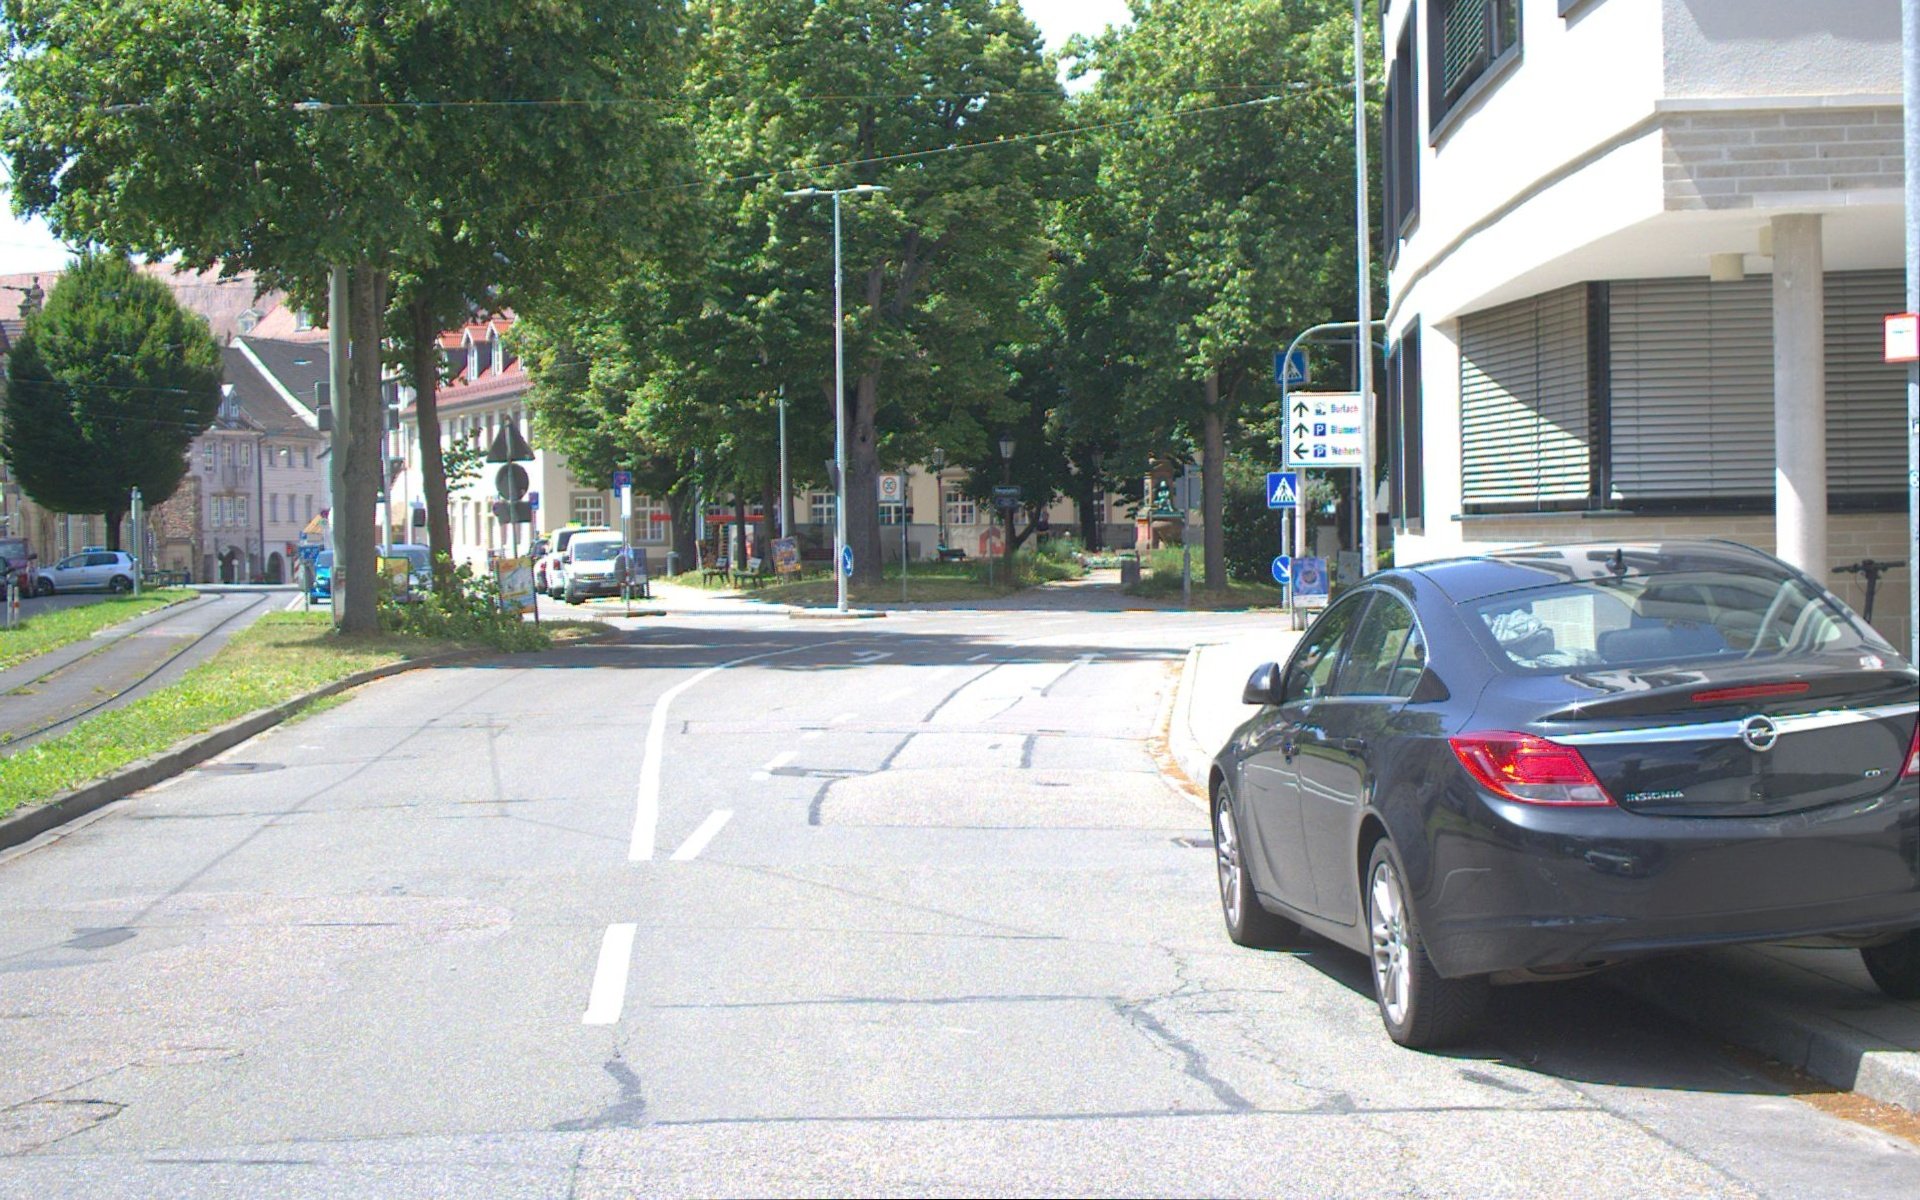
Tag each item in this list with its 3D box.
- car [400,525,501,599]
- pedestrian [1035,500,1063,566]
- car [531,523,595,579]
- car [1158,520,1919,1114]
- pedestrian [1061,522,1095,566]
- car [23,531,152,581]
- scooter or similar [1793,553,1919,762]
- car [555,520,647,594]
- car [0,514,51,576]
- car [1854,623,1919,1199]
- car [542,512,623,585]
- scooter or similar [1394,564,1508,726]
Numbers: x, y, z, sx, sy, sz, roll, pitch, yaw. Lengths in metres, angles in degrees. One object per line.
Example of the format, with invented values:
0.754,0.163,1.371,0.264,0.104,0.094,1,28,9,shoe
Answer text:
-11.037,-0.837,74.275,1.903,1.528,4.245,0,1,-12,car
2.600,-1.950,100.273,0.748,1.904,0.684,0,3,6,pedestrian
-11.995,-1.502,103.717,1.783,1.618,4.487,0,1,-8,car
1.999,0.562,11.721,1.799,1.504,4.548,-4,1,-6,car
3.448,-1.629,100.178,0.906,1.247,1.148,0,3,6,pedestrian
-29.861,-1.516,117.775,4.201,1.499,2.005,-3,2,-14,car
5.490,0.329,20.834,0.422,1.207,1.315,-1,1,-6,scooter or similar
-9.202,-1.132,87.853,1.993,1.820,4.424,0,1,-10,car
-30.771,-1.795,111.747,1.853,1.904,4.773,-3,2,-10,car
2.784,0.726,5.088,1.592,1.428,3.707,-5,1,-5,car
-10.617,-1.479,96.378,2.049,1.995,5.250,0,1,-8,car
4.010,0.356,28.148,0.581,1.256,1.368,-3,1,-4,scooter or similar
